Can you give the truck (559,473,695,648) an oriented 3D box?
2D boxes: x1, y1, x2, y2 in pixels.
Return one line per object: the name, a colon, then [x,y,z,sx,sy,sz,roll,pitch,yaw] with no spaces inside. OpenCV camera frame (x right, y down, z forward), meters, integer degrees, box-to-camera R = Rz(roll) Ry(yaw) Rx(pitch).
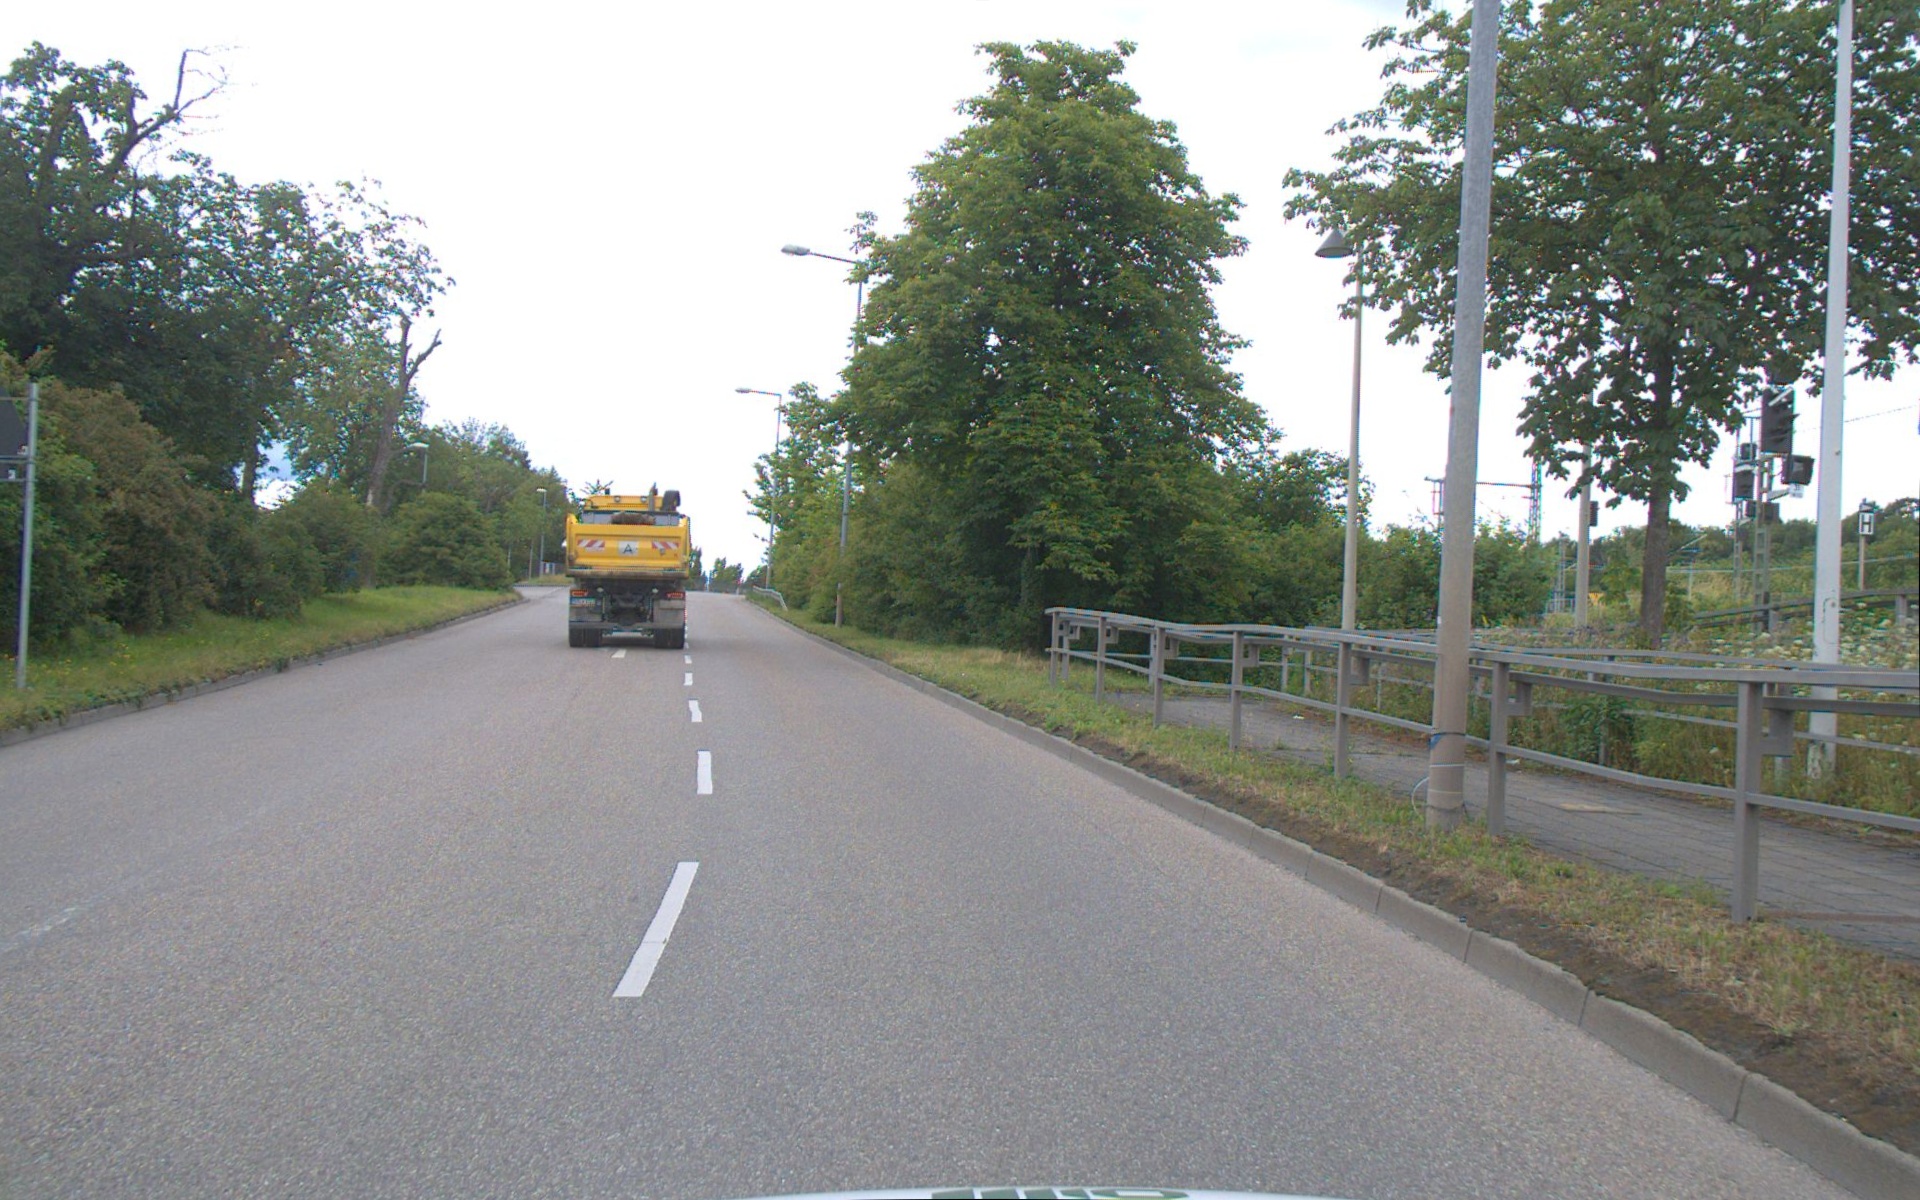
truck: [-7.528,-0.887,37.879,2.715,3.544,8.110,1,1,-10]
